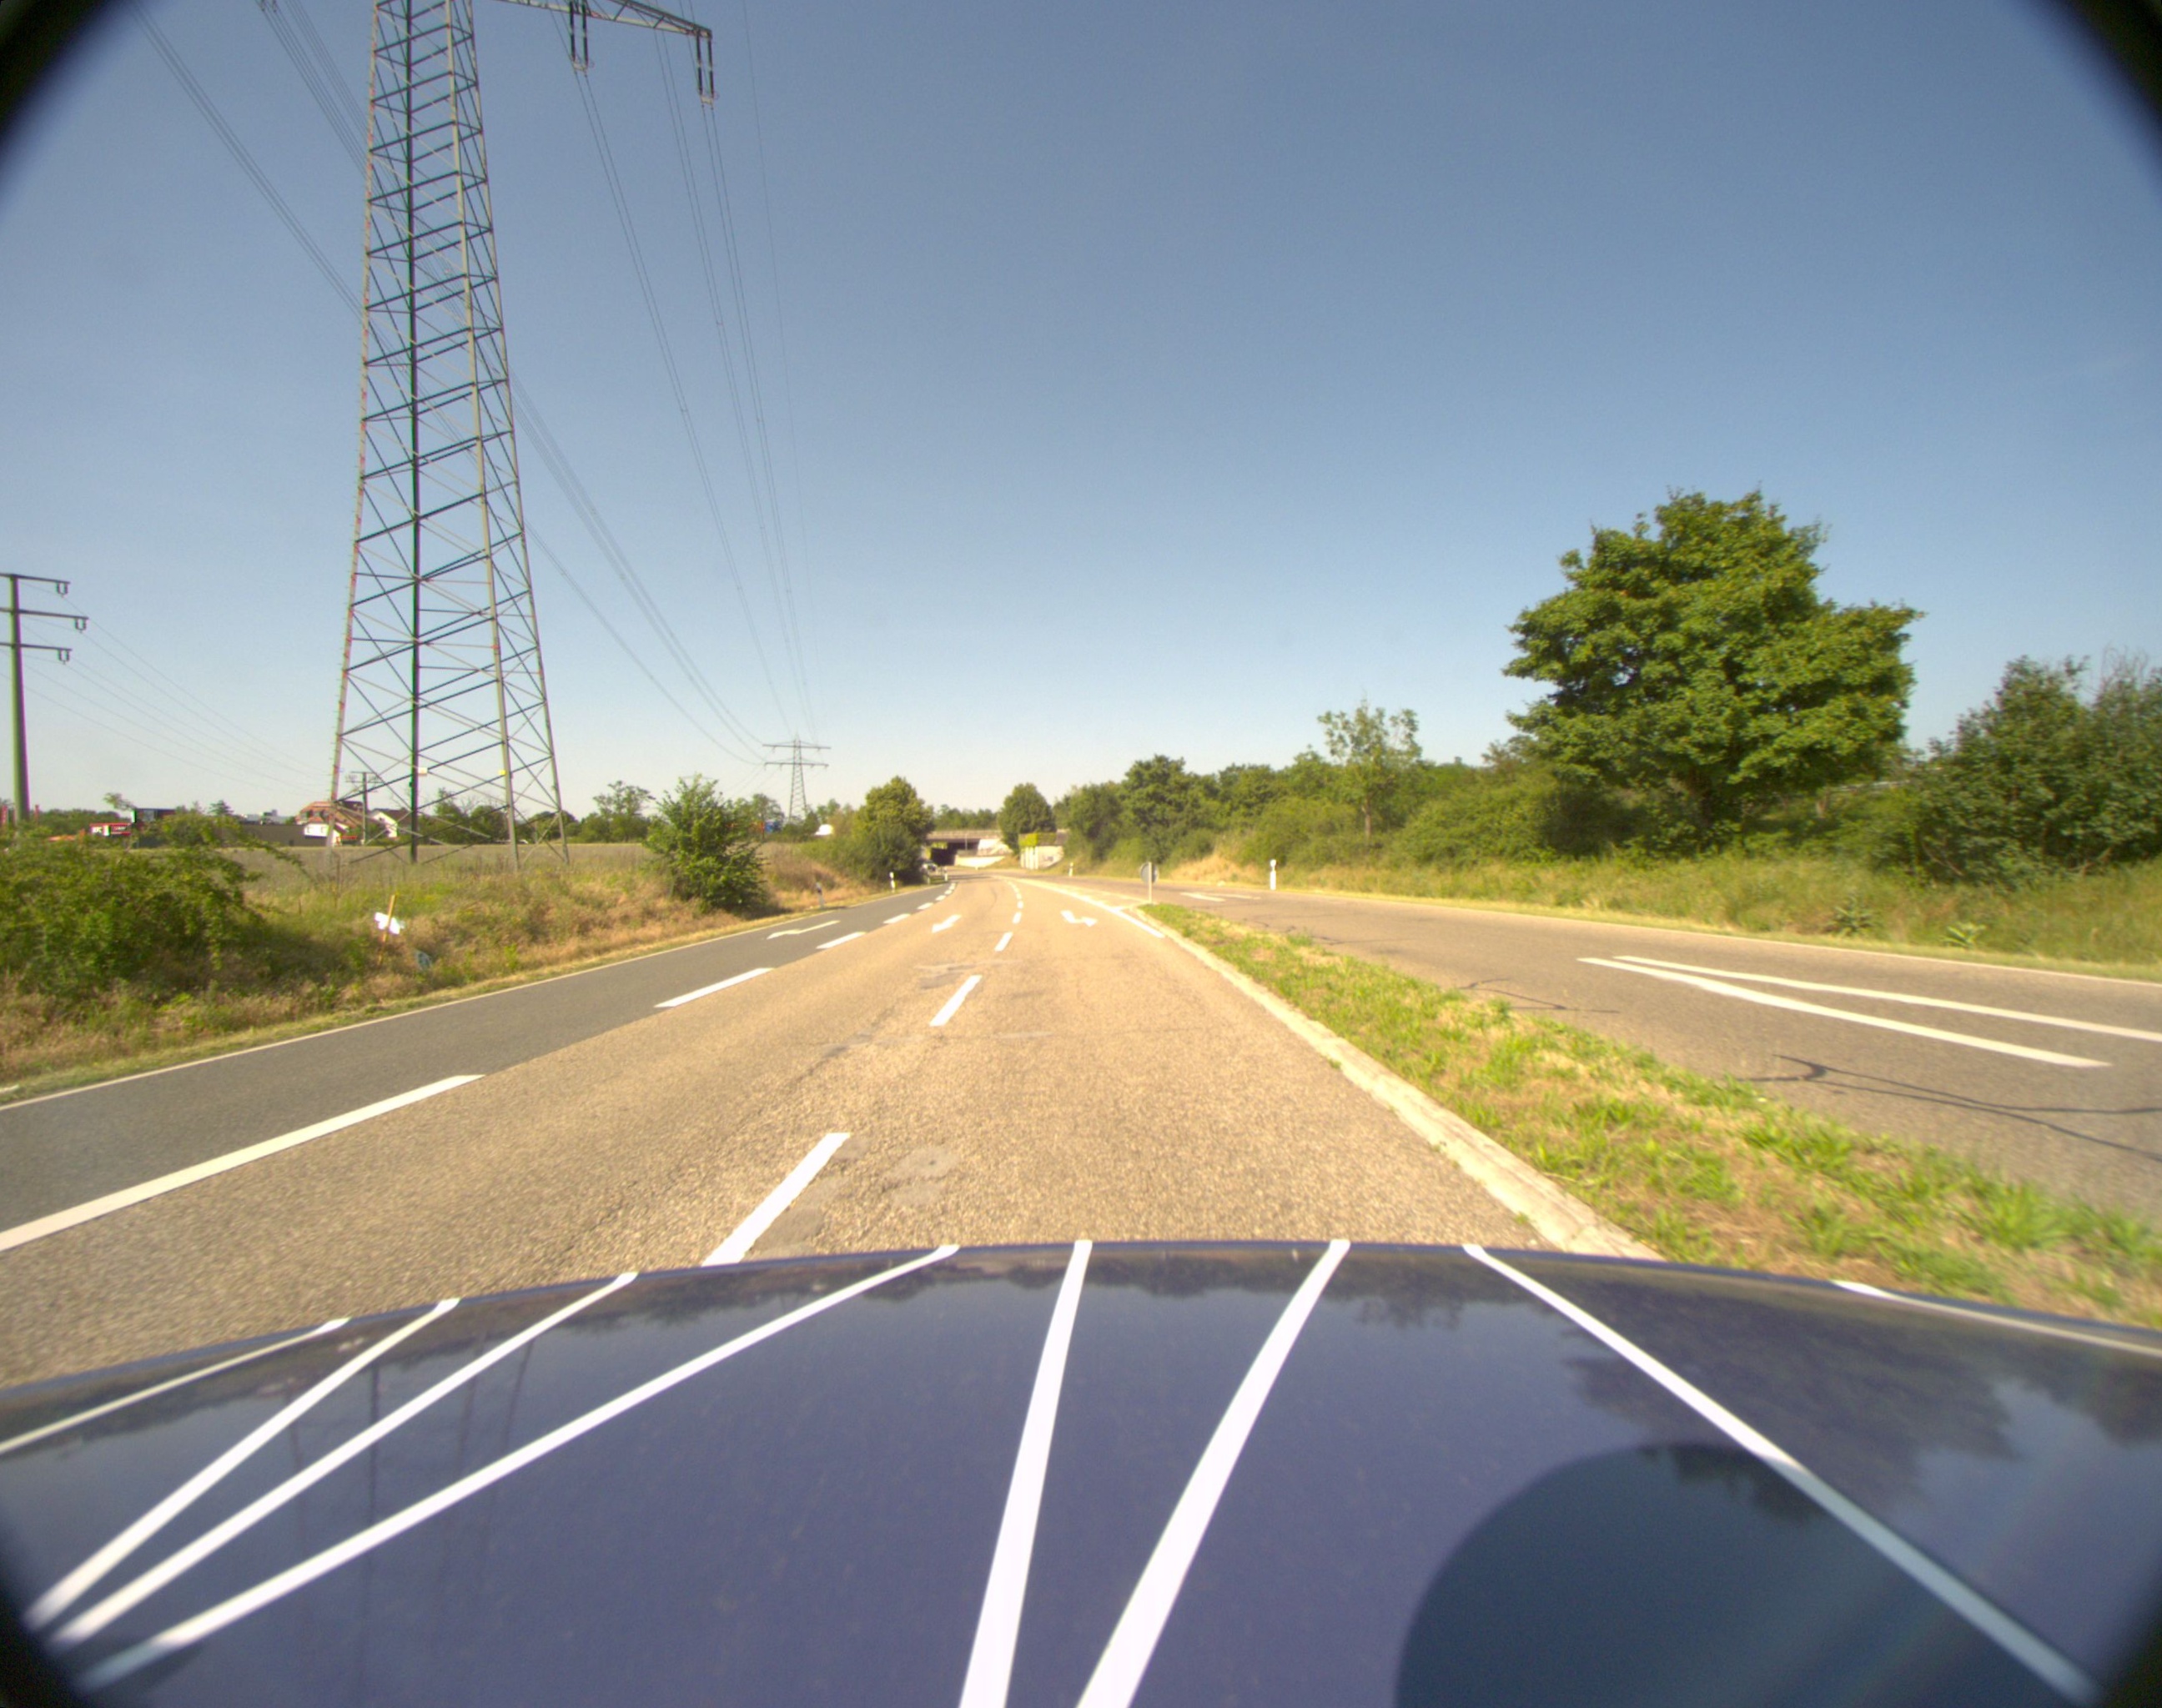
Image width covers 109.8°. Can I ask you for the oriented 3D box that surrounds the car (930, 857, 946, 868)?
[{"bbox_3d":[-22.731,1.394,120.608,1.862,1.609,3.642,-2,0,-19],"label":"car"}]
